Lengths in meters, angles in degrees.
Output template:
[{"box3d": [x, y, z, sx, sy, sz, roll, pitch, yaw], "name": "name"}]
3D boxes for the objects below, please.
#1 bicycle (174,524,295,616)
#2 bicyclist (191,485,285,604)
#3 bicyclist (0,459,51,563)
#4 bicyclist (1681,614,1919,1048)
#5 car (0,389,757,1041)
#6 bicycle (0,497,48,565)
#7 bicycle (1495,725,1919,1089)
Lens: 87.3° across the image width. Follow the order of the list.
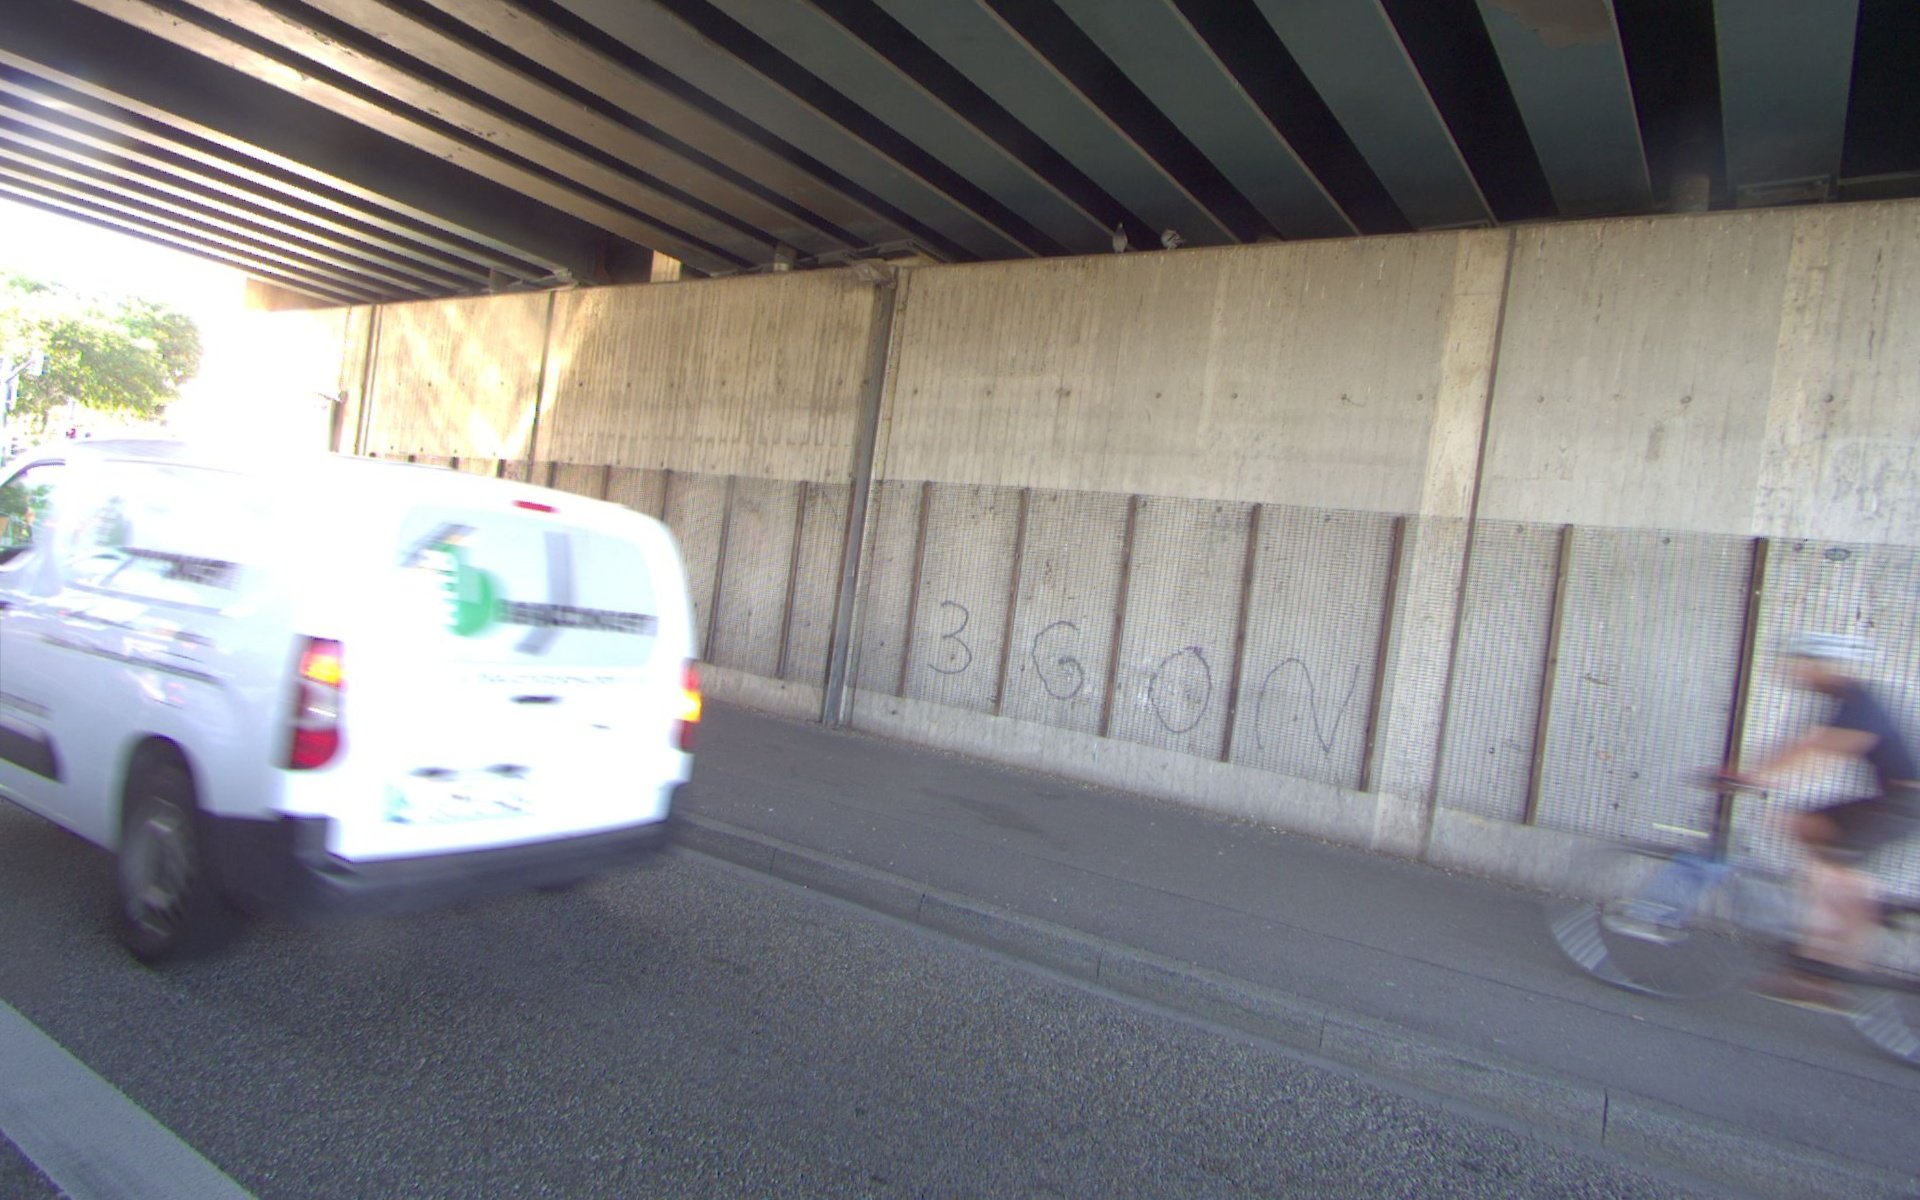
[{"box3d": [-10.123, -0.419, 14.022, 1.731, 1.071, 0.702, 8, 2, 32], "name": "bicycle"}, {"box3d": [-10.037, -0.769, 13.995, 0.894, 1.544, 0.695, 7, 2, 32], "name": "bicyclist"}, {"box3d": [-16.021, -1.507, 17.057, 0.635, 1.647, 0.676, 6, -2, 42], "name": "bicyclist"}, {"box3d": [3.892, 0.970, 4.488, 0.871, 1.674, 0.748, 7, -1, 31], "name": "bicyclist"}, {"box3d": [-3.276, 0.186, 4.735, 4.227, 1.855, 1.817, 8, -1, 30], "name": "car"}, {"box3d": [-16.073, -1.187, 17.052, 1.508, 1.036, 0.676, 6, -2, 43], "name": "bicycle"}, {"box3d": [3.855, 1.373, 4.509, 2.428, 1.161, 0.766, 8, 2, 31], "name": "bicycle"}]
